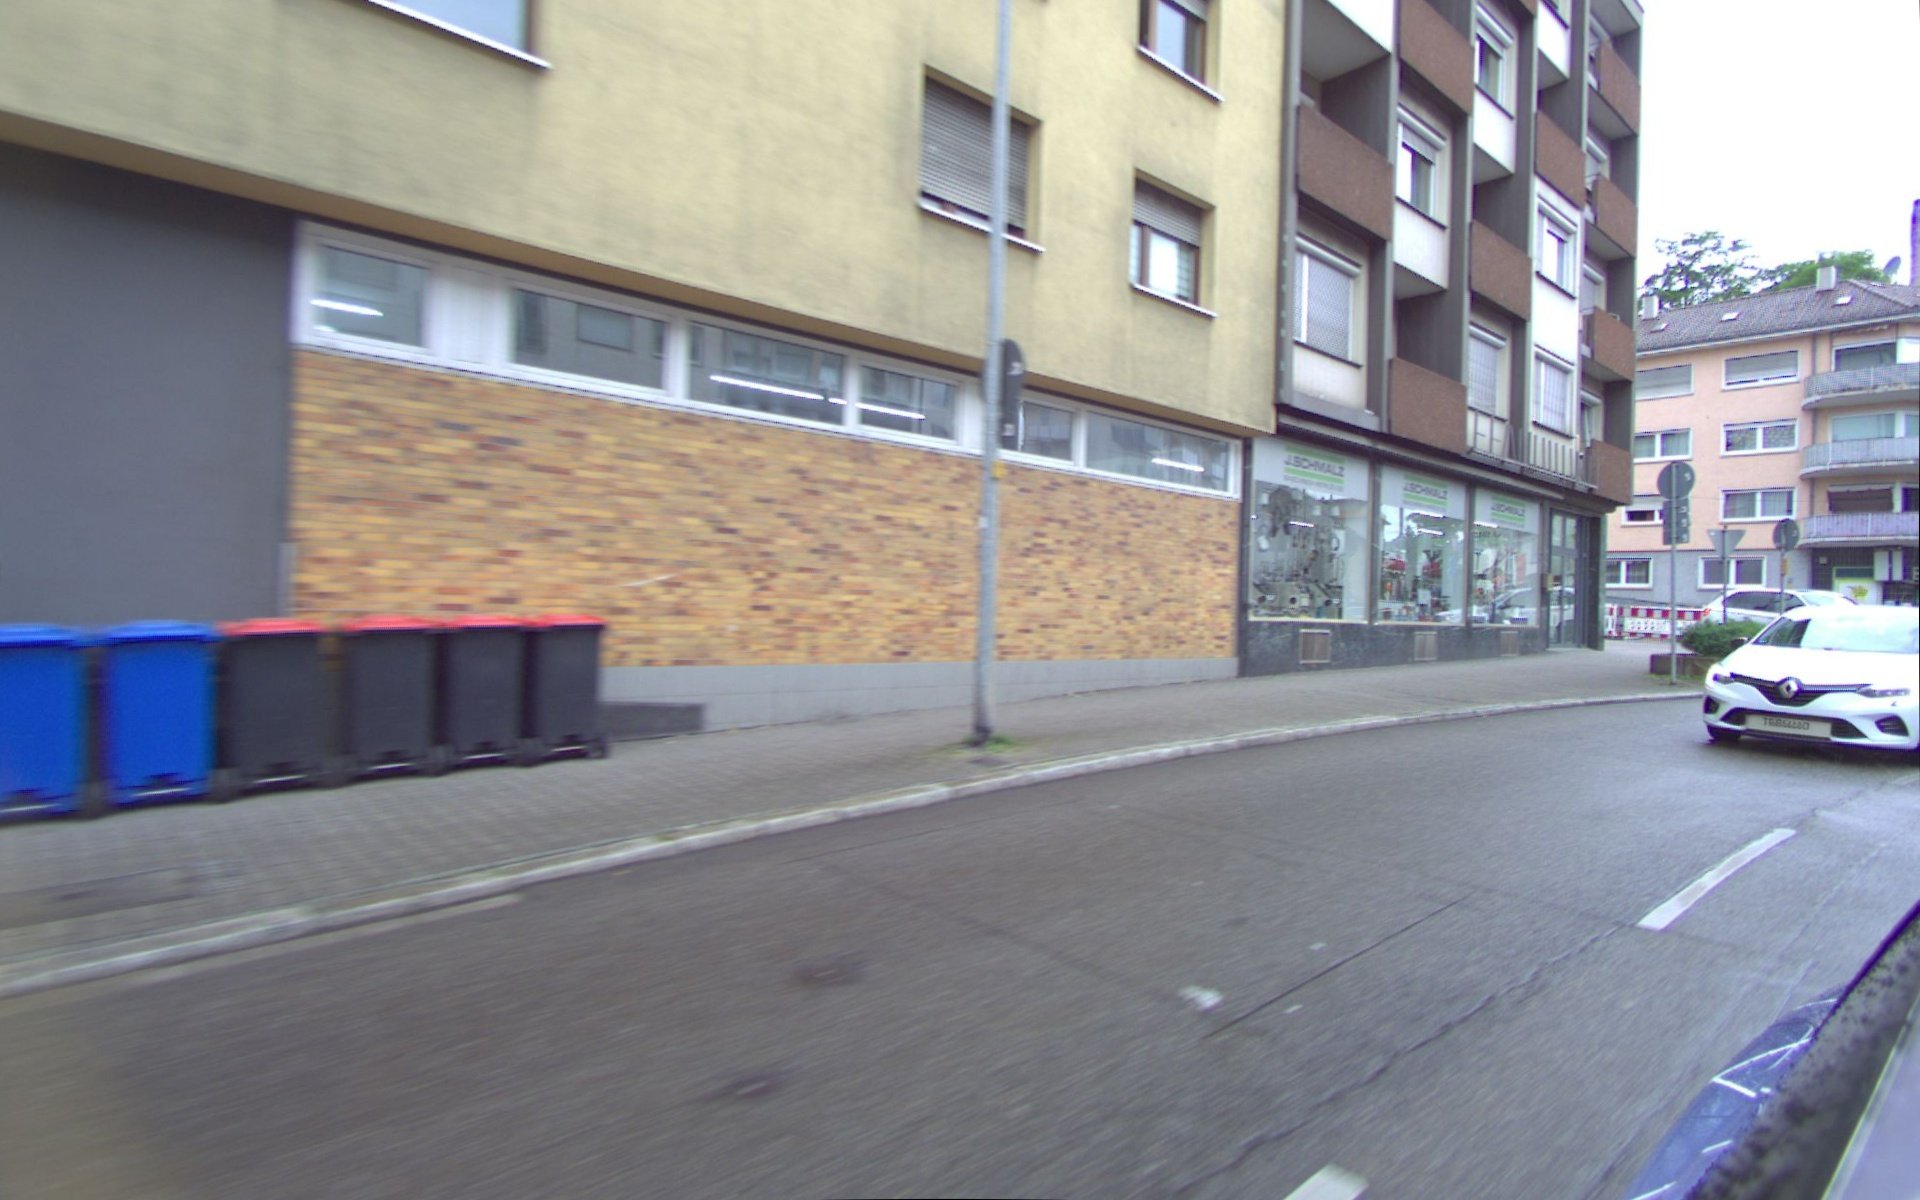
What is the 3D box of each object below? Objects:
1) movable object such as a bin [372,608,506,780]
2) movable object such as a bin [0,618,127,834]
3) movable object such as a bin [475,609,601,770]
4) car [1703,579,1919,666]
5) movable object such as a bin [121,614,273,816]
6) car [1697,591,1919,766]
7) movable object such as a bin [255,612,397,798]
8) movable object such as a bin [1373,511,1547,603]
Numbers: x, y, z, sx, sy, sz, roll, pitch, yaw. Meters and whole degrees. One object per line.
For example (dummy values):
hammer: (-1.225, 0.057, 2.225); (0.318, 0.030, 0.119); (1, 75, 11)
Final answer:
movable object such as a bin: (-3.600, 0.610, 6.996); (0.657, 1.090, 0.681); (1, 0, -43)
movable object such as a bin: (-5.071, 0.659, 5.610); (0.657, 1.090, 0.681); (1, 0, -43)
movable object such as a bin: (-3.113, 0.624, 7.465); (0.657, 1.090, 0.681); (1, 0, -43)
car: (21.004, 0.470, 24.498); (1.959, 1.741, 4.808); (2, 2, -8)
movable object such as a bin: (-4.583, 0.642, 6.076); (0.657, 1.090, 0.681); (1, 0, -43)
car: (9.359, 0.656, 10.306); (3.922, 1.420, 1.683); (0, 3, -33)
movable object such as a bin: (-4.096, 0.634, 6.536); (0.657, 1.090, 0.681); (1, 0, -43)
movable object such as a bin: (23.445, -2.092, 47.733); (2.695, 3.679, 6.531); (2, 5, -42)
